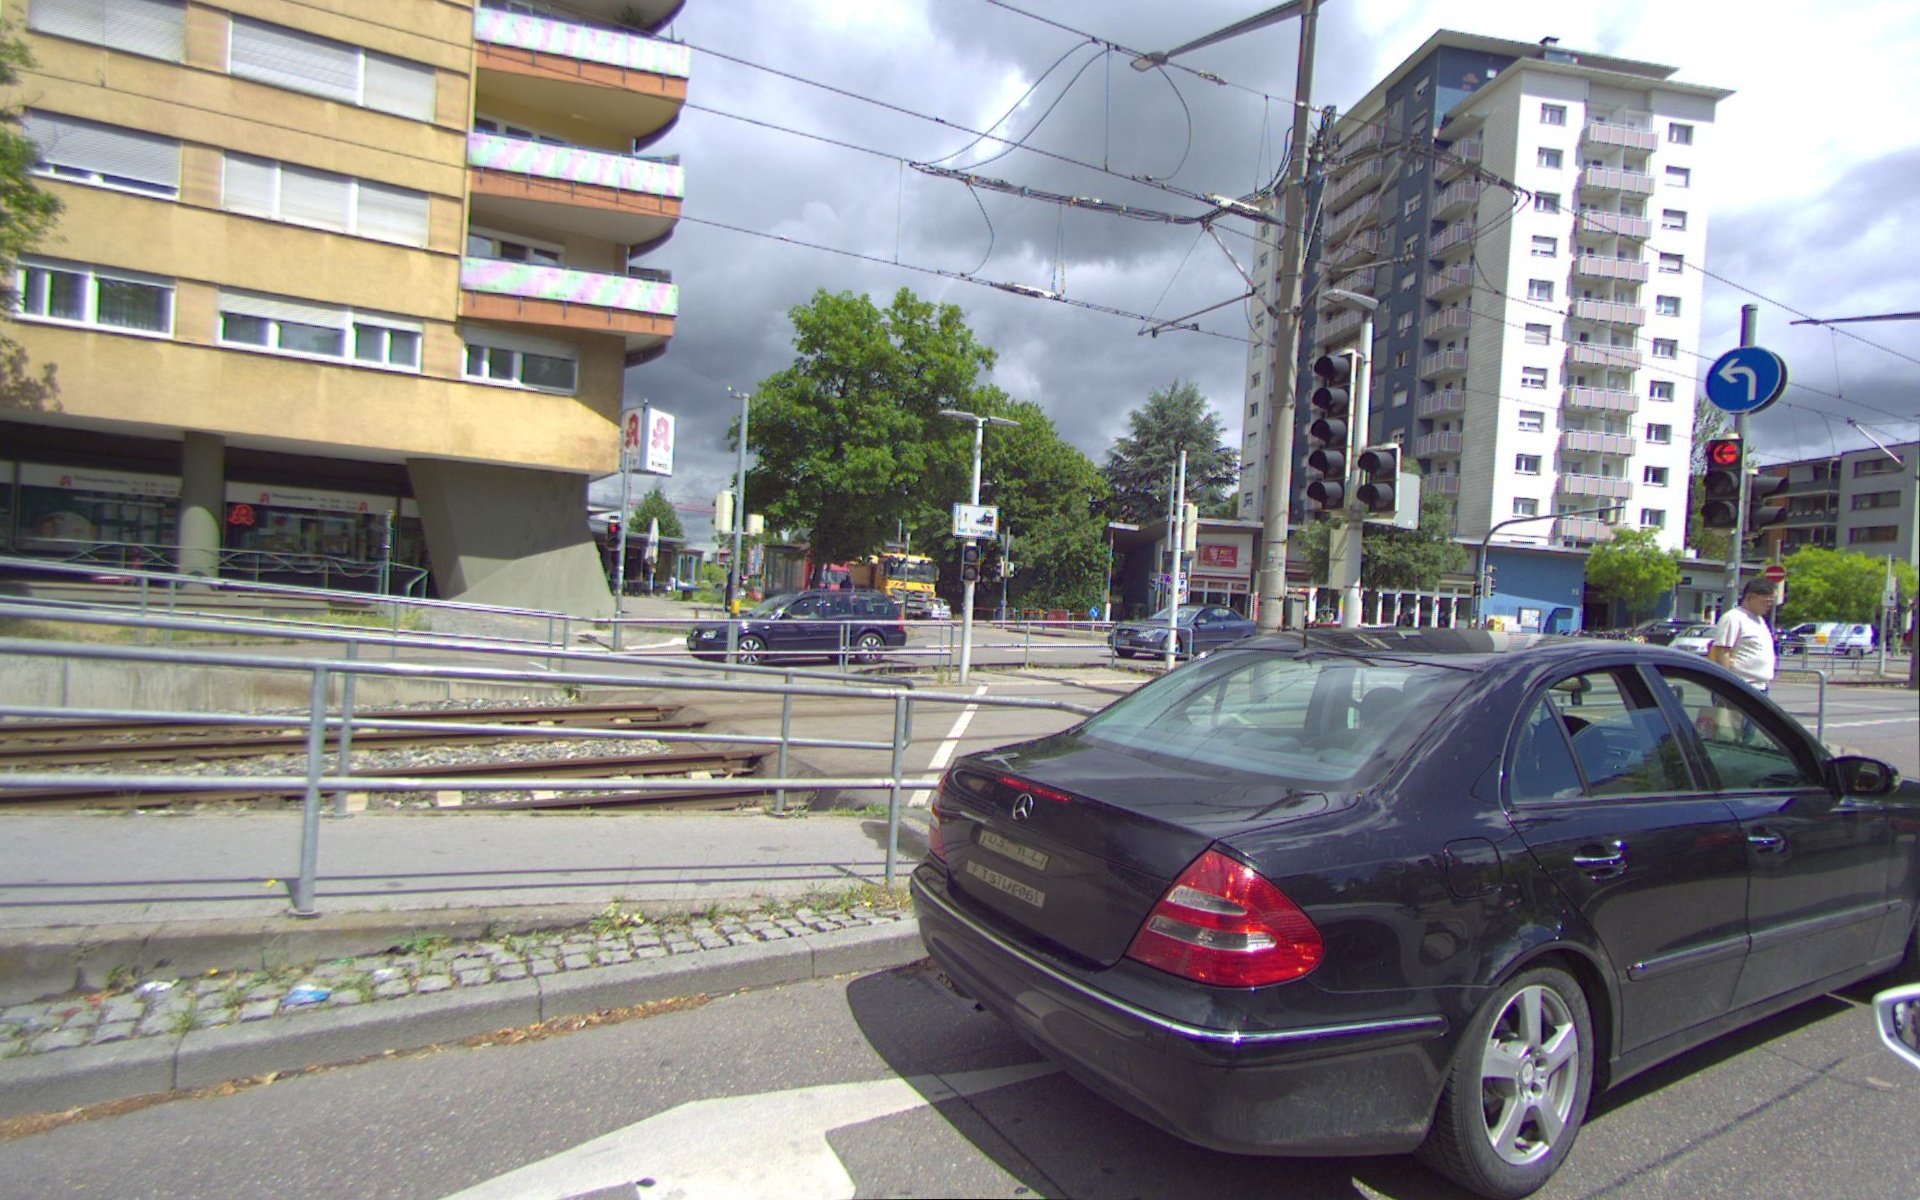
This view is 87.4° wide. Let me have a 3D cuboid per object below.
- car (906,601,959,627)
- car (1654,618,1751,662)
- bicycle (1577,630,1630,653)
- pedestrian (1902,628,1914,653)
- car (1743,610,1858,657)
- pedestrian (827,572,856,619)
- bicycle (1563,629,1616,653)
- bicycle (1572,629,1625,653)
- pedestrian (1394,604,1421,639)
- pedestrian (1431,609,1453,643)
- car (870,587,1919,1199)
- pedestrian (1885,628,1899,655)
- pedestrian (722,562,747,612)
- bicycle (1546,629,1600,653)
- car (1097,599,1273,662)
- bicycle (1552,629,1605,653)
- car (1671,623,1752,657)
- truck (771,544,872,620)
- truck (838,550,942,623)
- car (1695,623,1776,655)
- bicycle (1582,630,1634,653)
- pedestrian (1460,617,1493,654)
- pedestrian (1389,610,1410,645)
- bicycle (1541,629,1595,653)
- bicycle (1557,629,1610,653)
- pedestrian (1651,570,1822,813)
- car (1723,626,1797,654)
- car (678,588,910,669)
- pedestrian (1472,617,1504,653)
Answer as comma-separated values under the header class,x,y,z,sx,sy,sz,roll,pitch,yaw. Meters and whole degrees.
class,x,y,z,sx,sy,sz,roll,pitch,yaw
car,-1.654,0.802,58.618,1.675,1.416,3.976,2,0,-24
car,31.391,1.689,42.442,3.827,1.715,1.928,2,0,-30
bicycle,28.829,1.841,45.035,0.490,0.947,1.934,2,0,-35
pedestrian,67.035,2.827,71.024,0.401,1.739,0.542,1,1,-39
car,49.809,1.895,59.769,2.776,2.512,6.724,2,0,17
pedestrian,-4.372,-0.168,37.207,0.750,1.636,0.780,7,1,4
bicycle,27.888,1.809,44.498,0.490,0.947,1.934,2,0,-35
bicycle,28.433,1.827,44.751,0.490,0.947,1.934,2,0,-35
pedestrian,25.486,1.227,57.209,1.203,1.942,0.858,1,1,-37
pedestrian,23.996,1.275,49.999,0.693,1.637,0.760,1,1,-43
car,2.068,0.763,3.827,4.490,1.481,1.720,2,0,-30
pedestrian,60.246,2.671,64.929,0.663,1.739,0.542,1,1,-40
pedestrian,-7.668,-0.435,34.128,0.753,1.638,0.776,0,4,-19
bicycle,26.627,1.766,43.660,0.490,0.947,1.934,2,0,-35
car,5.658,0.786,25.060,4.446,1.418,1.625,2,0,-33
bicycle,27.038,1.780,43.948,0.490,0.947,1.934,2,0,-35
car,40.103,2.110,53.704,1.921,1.591,4.220,2,0,13
truck,-6.923,-0.824,48.993,2.692,3.320,8.877,1,0,-22
truck,-3.584,-0.620,49.211,2.733,3.244,7.443,1,0,-23
car,42.808,2.100,55.576,1.921,1.558,4.220,2,0,13
bicycle,29.235,1.855,45.331,0.490,0.947,1.934,2,0,-35
pedestrian,24.635,1.690,47.910,1.088,1.681,0.938,2,-1,-35
pedestrian,21.590,1.346,49.352,0.758,1.637,0.694,2,1,43
bicycle,26.244,1.752,43.374,0.490,0.947,1.934,2,0,-35
bicycle,27.425,1.793,44.220,0.490,0.947,1.934,2,0,-35
pedestrian,6.256,0.687,8.112,0.734,1.832,0.863,1,1,-33
car,45.580,2.245,57.328,1.754,1.439,4.219,2,0,16
car,-3.188,0.523,19.649,4.209,1.433,1.619,1,0,-34
pedestrian,25.556,1.693,48.628,1.088,1.681,0.938,2,-1,-35
